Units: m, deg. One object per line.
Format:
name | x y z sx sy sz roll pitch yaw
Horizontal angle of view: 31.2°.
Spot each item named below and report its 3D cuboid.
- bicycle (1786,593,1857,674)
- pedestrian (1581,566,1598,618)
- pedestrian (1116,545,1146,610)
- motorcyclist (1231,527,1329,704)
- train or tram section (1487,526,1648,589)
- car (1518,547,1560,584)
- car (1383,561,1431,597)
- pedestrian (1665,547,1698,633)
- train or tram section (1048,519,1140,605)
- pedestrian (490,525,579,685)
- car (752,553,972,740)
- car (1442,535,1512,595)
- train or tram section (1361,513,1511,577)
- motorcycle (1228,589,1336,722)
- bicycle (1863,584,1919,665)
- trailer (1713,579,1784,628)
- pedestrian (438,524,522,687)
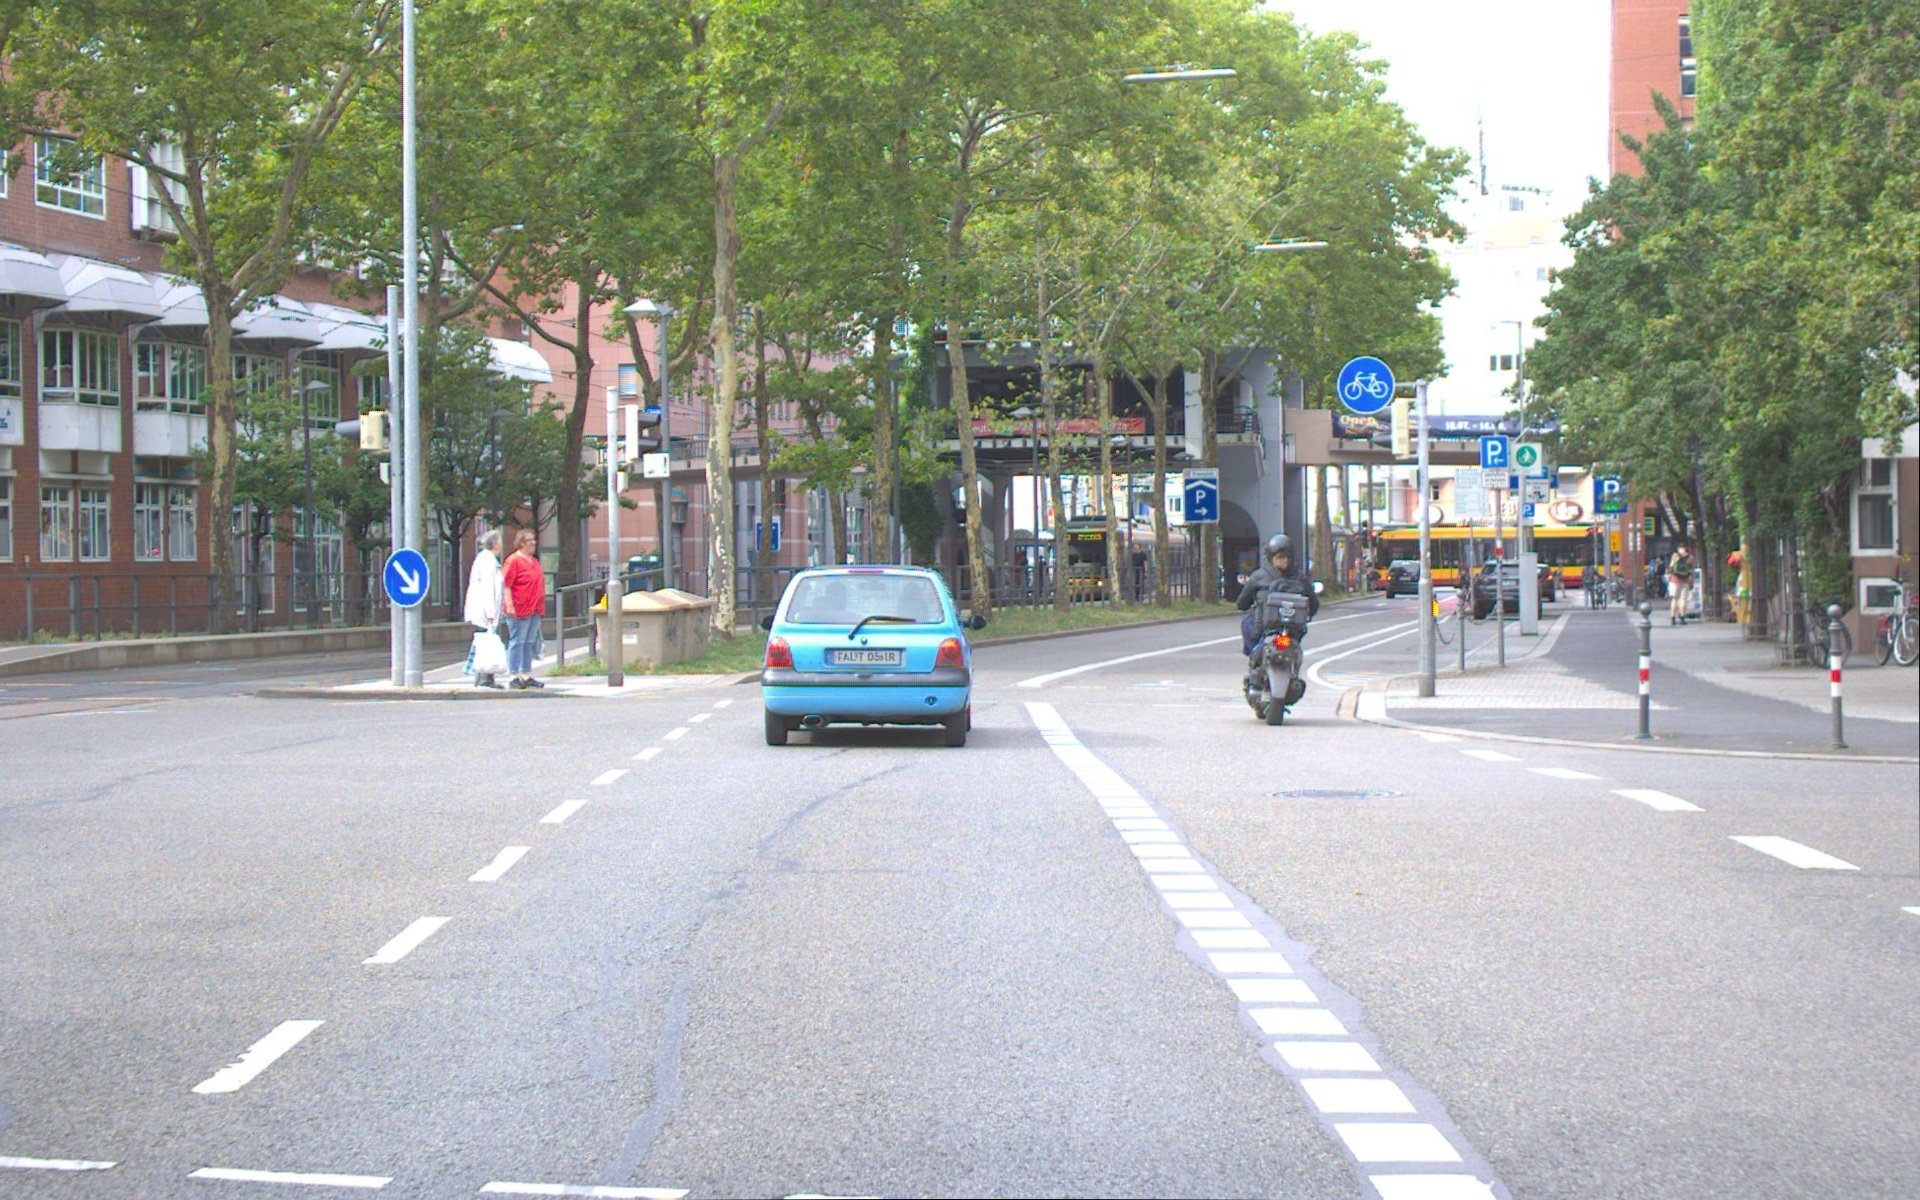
bicycle | 11.050 0.419 44.128 0.617 1.005 1.735 0 1 5
pedestrian | 21.236 -0.268 115.970 0.510 1.753 0.539 -1 0 11
pedestrian | 4.924 -0.656 98.809 0.728 1.852 0.870 0 0 12
motorcyclist | 2.809 0.130 30.271 0.759 1.514 1.017 -1 0 2
train or tram section | 32.704 -2.287 185.097 8.330 3.242 2.397 -1 0 -18
car | 25.412 -1.528 150.899 1.699 1.596 3.998 0 1 11
car | 20.421 -0.977 156.922 1.887 1.618 3.998 0 1 11
pedestrian | 15.620 -0.216 74.429 0.647 1.852 0.782 0 1 10
train or tram section | 5.301 -1.466 134.368 2.390 3.242 8.814 -1 0 10
pedestrian | -4.642 0.049 37.509 0.553 1.712 0.889 0 0 26
car | -0.740 0.319 27.593 1.640 1.381 3.843 0 1 0
car | 14.273 -0.983 94.806 1.699 1.596 3.998 0 1 11
train or tram section | 25.106 -2.909 181.026 8.792 3.242 2.396 -1 0 -39
motorcycle | 2.813 0.468 30.219 0.767 1.103 2.208 -1 0 1
bicycle | 12.120 0.308 44.338 0.617 1.005 1.735 0 1 5
trailer | 17.447 0.067 76.006 0.993 1.055 1.606 0 1 35
pedestrian | -5.112 0.051 36.661 0.553 1.712 0.890 0 0 17
